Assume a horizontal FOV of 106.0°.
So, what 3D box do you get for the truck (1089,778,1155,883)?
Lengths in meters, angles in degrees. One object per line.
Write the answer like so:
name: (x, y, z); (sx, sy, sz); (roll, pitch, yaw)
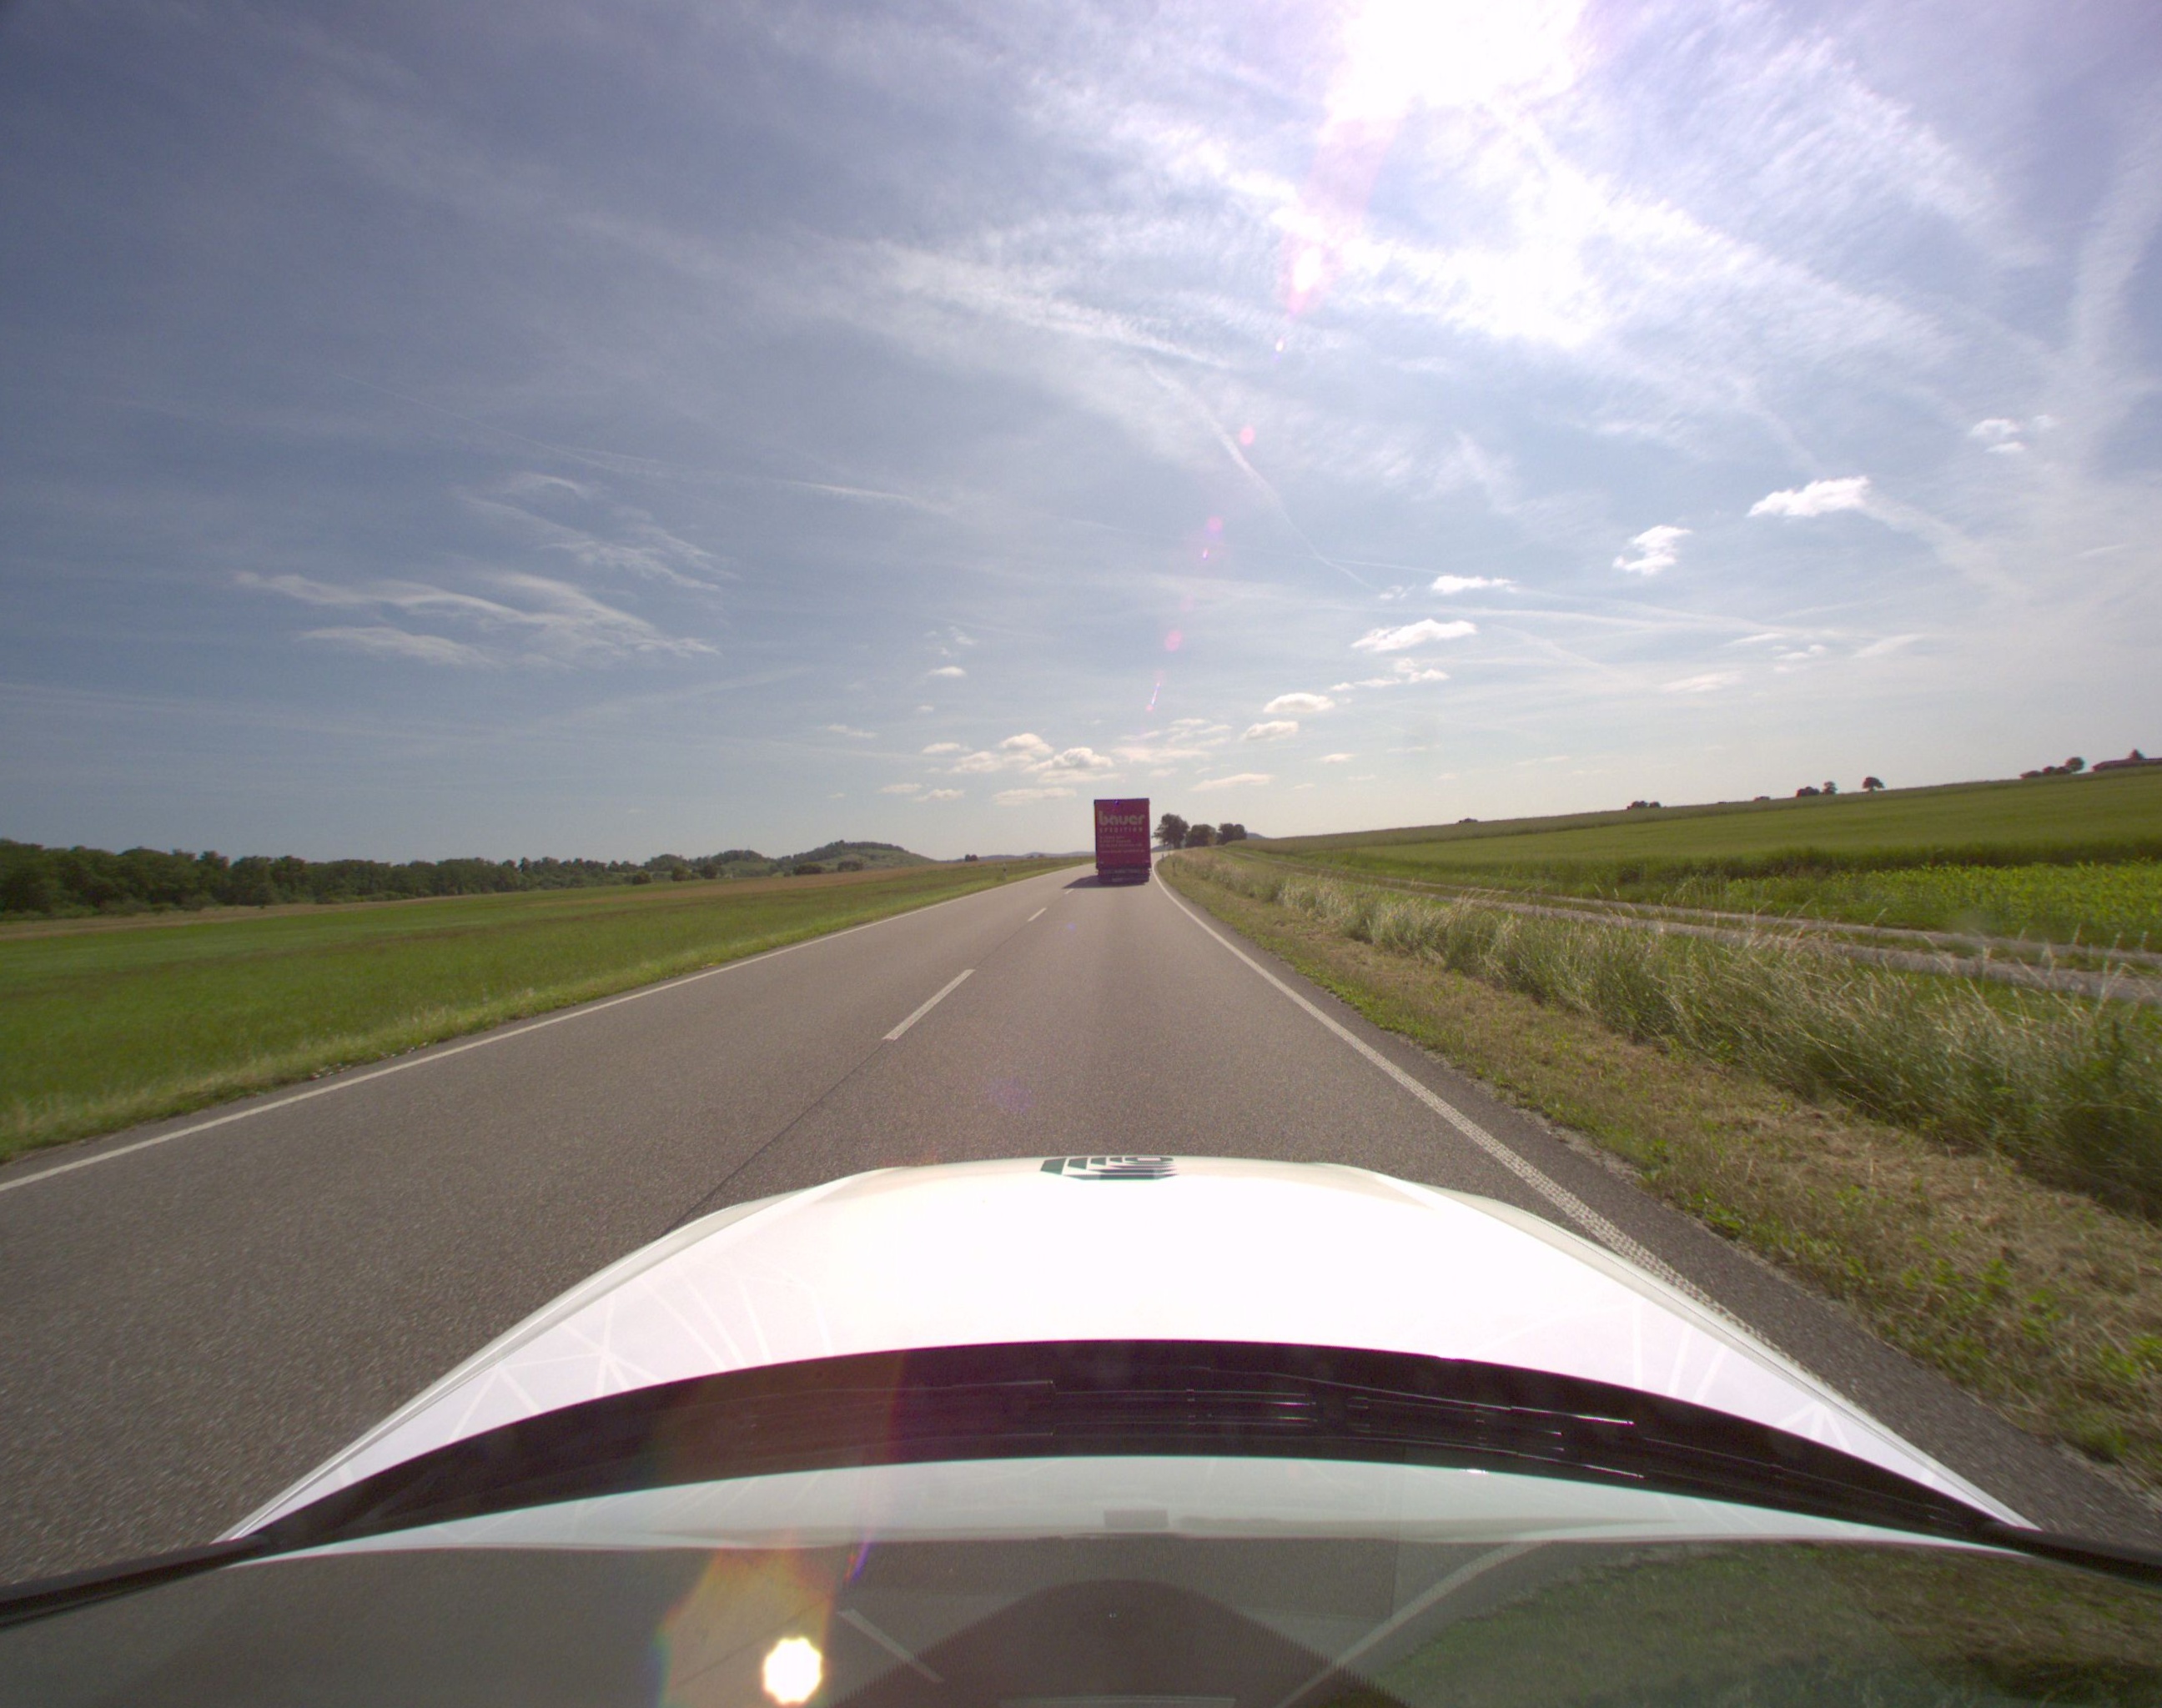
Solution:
truck: (2.173, -1.068, 41.492); (2.962, 4.713, 9.376); (0, 0, 4)
